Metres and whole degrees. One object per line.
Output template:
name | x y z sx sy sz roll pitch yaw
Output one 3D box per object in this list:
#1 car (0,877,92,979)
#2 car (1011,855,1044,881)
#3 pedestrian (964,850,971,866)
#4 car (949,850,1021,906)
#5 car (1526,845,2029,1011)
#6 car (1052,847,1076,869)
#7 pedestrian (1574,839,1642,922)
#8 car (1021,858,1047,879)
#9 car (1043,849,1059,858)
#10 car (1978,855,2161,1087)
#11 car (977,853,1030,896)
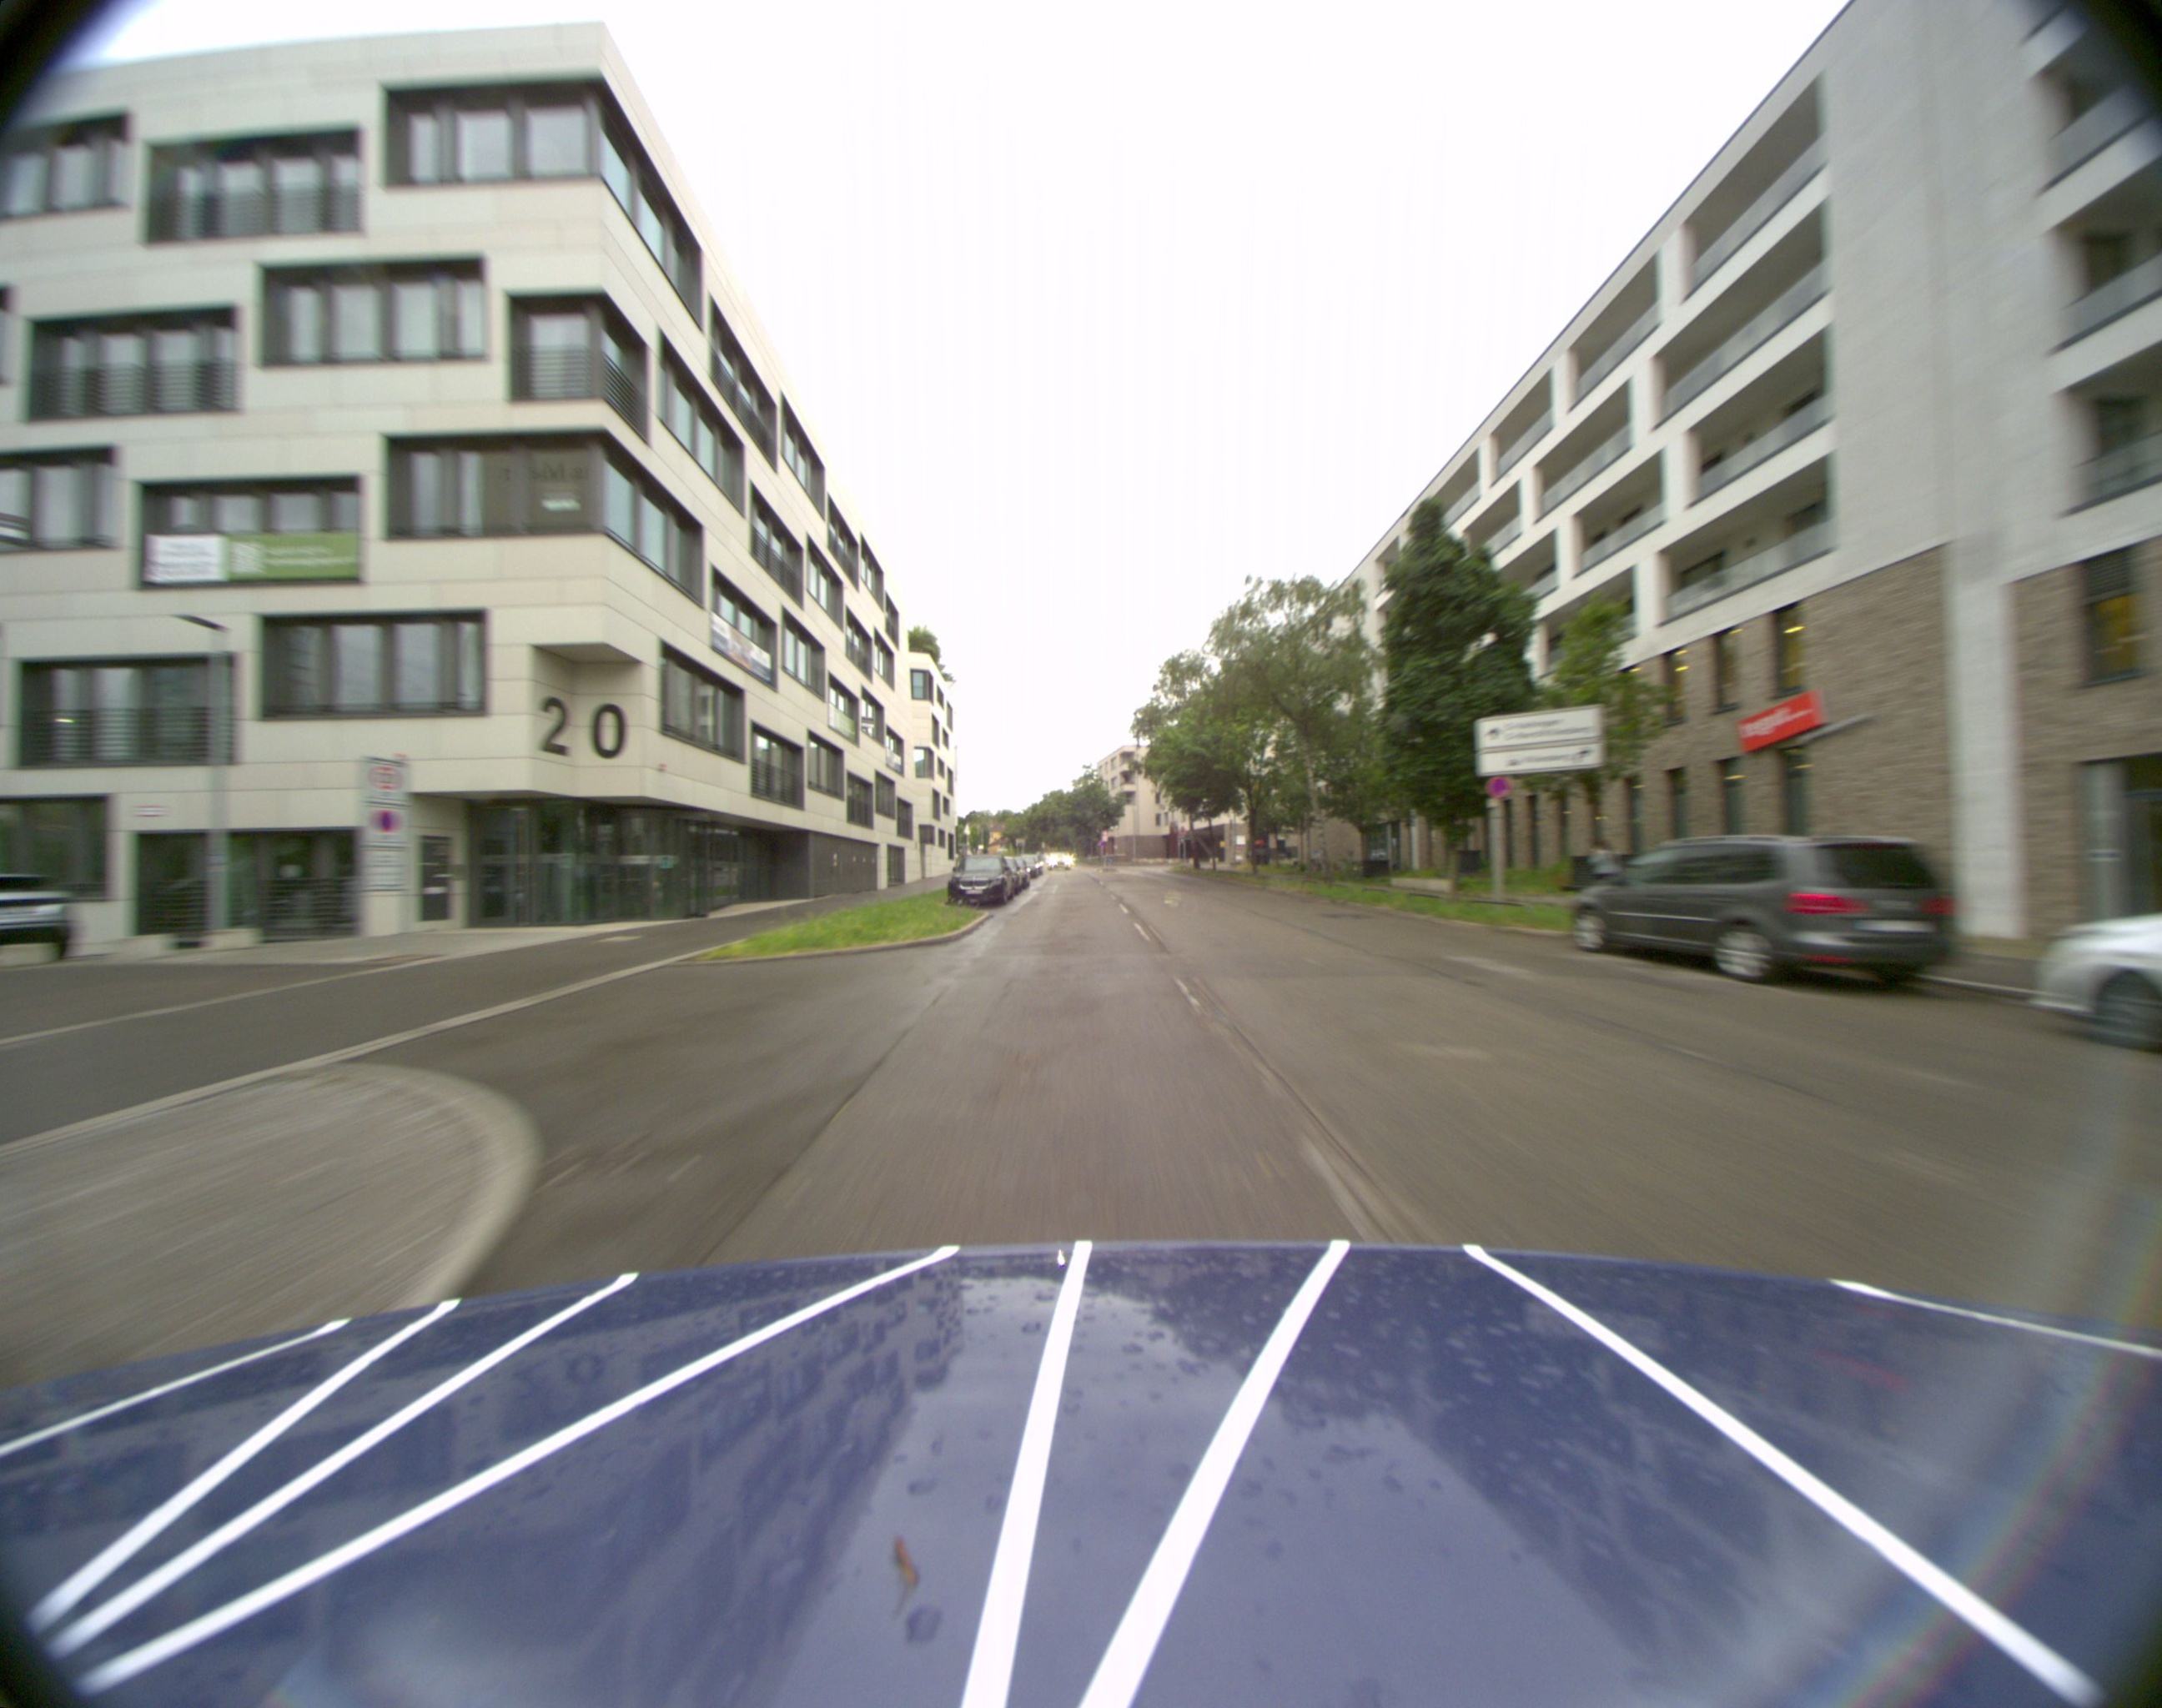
car | -19.366 1.353 12.409 3.996 1.606 1.894 -4 1 3
car | -3.510 0.879 50.366 1.812 1.476 4.494 -2 1 0
pedestrian | -13.255 0.429 88.832 0.825 1.785 1.207 -1 1 -6
car | -3.160 0.748 25.897 1.812 1.669 4.712 -2 0 0
car | 8.153 0.715 9.731 2.083 1.600 4.684 0 0 -1
car | -1.631 0.357 72.127 1.848 1.961 4.341 -2 1 -6
pedestrian | 11.053 0.538 15.973 0.710 1.673 0.956 -1 0 -4
car | -3.414 1.027 55.660 1.550 1.470 3.660 -2 0 1
car | -5.519 -0.128 140.798 1.997 1.584 4.483 -2 1 -14
car | 8.496 0.828 4.421 1.778 1.591 4.031 -1 0 -1
car | -3.203 0.802 32.103 1.753 1.596 4.372 -2 1 0
